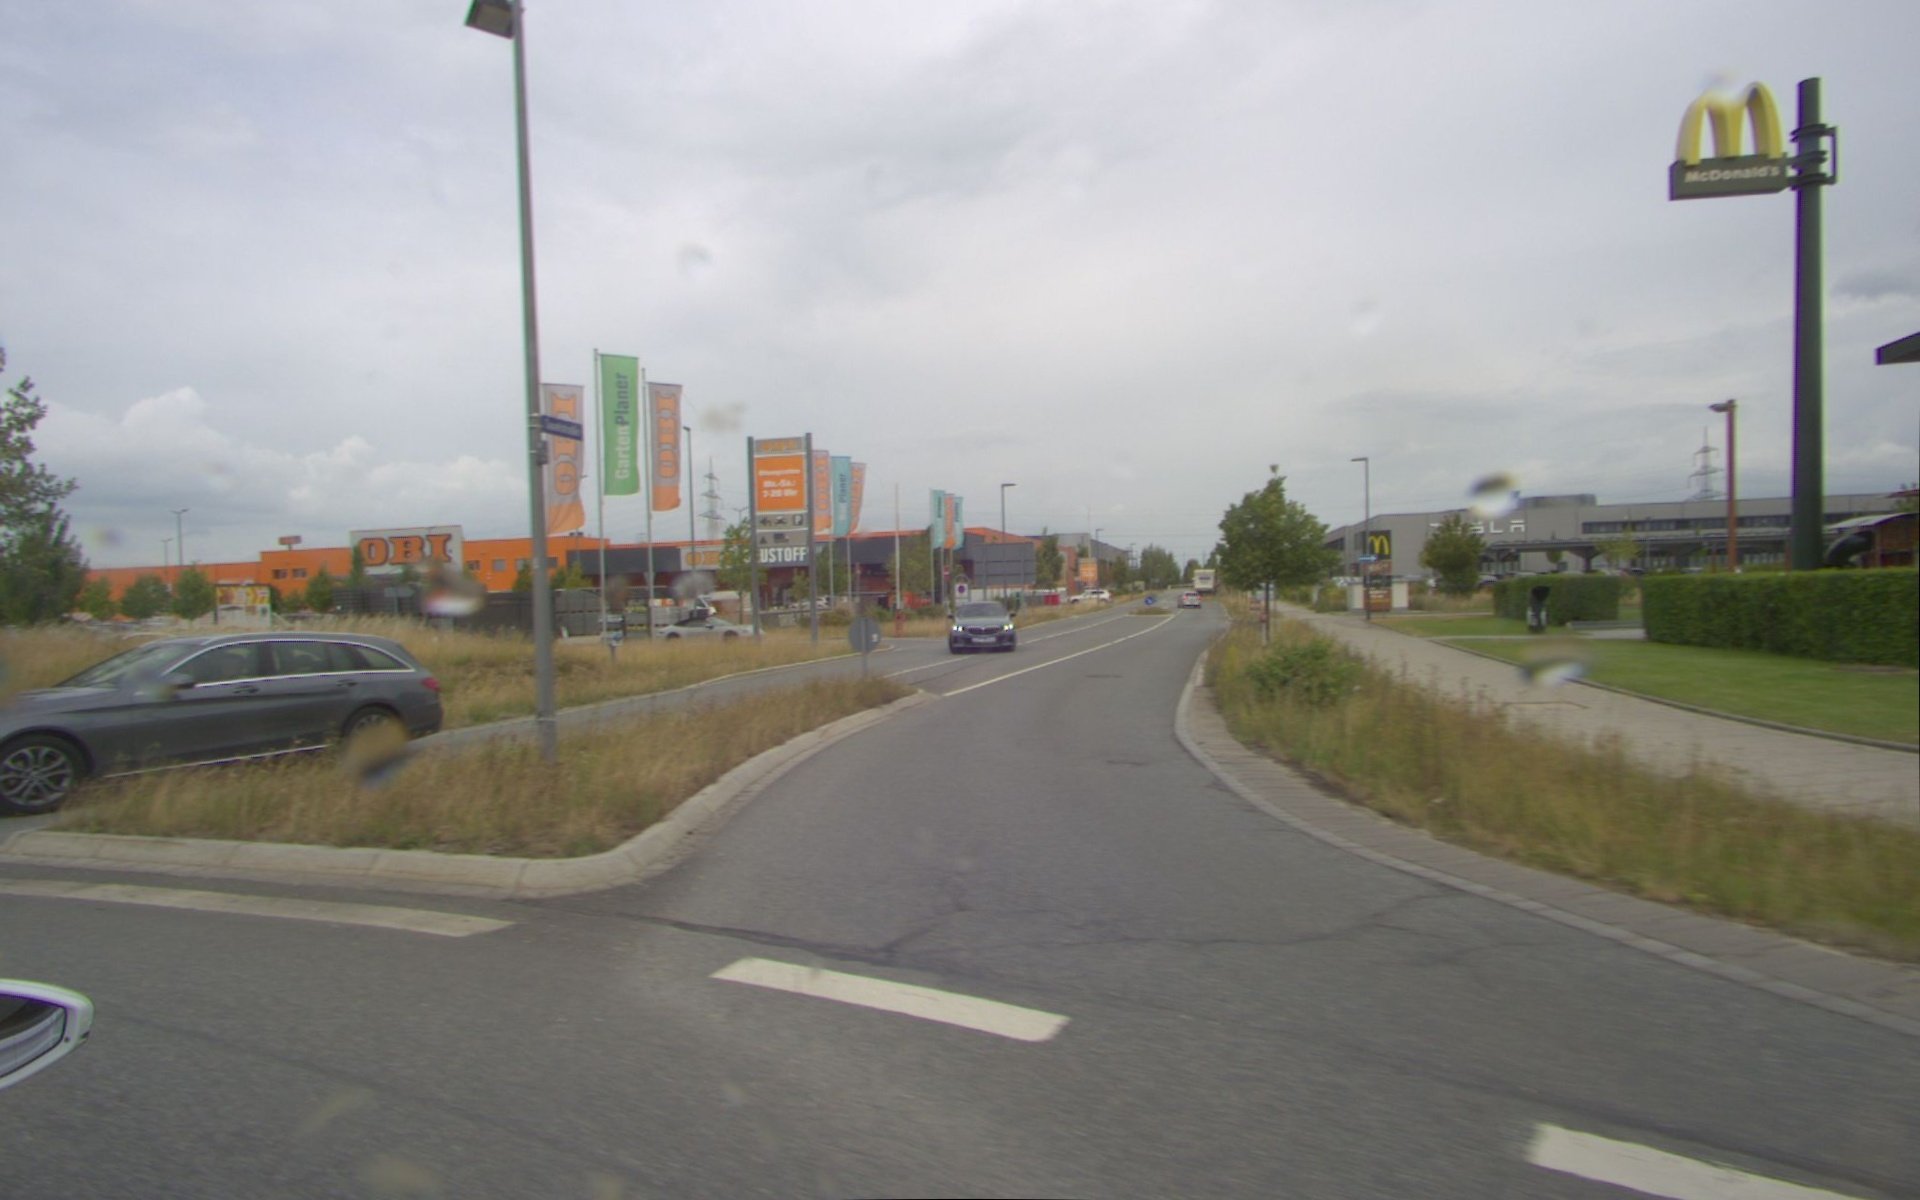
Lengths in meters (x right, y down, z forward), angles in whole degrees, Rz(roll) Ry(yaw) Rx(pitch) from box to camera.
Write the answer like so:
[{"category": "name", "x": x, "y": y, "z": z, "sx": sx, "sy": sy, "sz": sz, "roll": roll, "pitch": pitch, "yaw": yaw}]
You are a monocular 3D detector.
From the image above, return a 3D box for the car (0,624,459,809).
[{"category": "car", "x": -7.663, "y": 0.986, "z": 9.903, "sx": 1.898, "sy": 1.421, "sz": 4.672, "roll": -2, "pitch": -2, "yaw": 25}]

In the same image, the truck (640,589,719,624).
[{"category": "truck", "x": -22.054, "y": 0.519, "z": 78.891, "sx": 5.445, "sy": 2.516, "sz": 2.440, "roll": -2, "pitch": -1, "yaw": 10}]

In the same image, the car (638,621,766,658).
[{"category": "car", "x": -10.229, "y": 1.542, "z": 39.802, "sx": 4.668, "sy": 1.422, "sz": 1.743, "roll": 0, "pitch": -1, "yaw": 11}]

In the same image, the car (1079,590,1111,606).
[{"category": "car", "x": 13.770, "y": -0.160, "z": 101.967, "sx": 3.094, "sy": 1.466, "sz": 1.411, "roll": -2, "pitch": -1, "yaw": 9}]

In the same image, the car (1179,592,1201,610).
[{"category": "car", "x": 20.523, "y": 0.056, "z": 89.229, "sx": 1.779, "sy": 1.484, "sz": 3.996, "roll": 2, "pitch": 1, "yaw": 13}]

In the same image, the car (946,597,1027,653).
[{"category": "car", "x": 0.902, "y": 0.768, "z": 30.883, "sx": 1.962, "sy": 1.526, "sz": 4.682, "roll": -2, "pitch": -2, "yaw": 8}]
